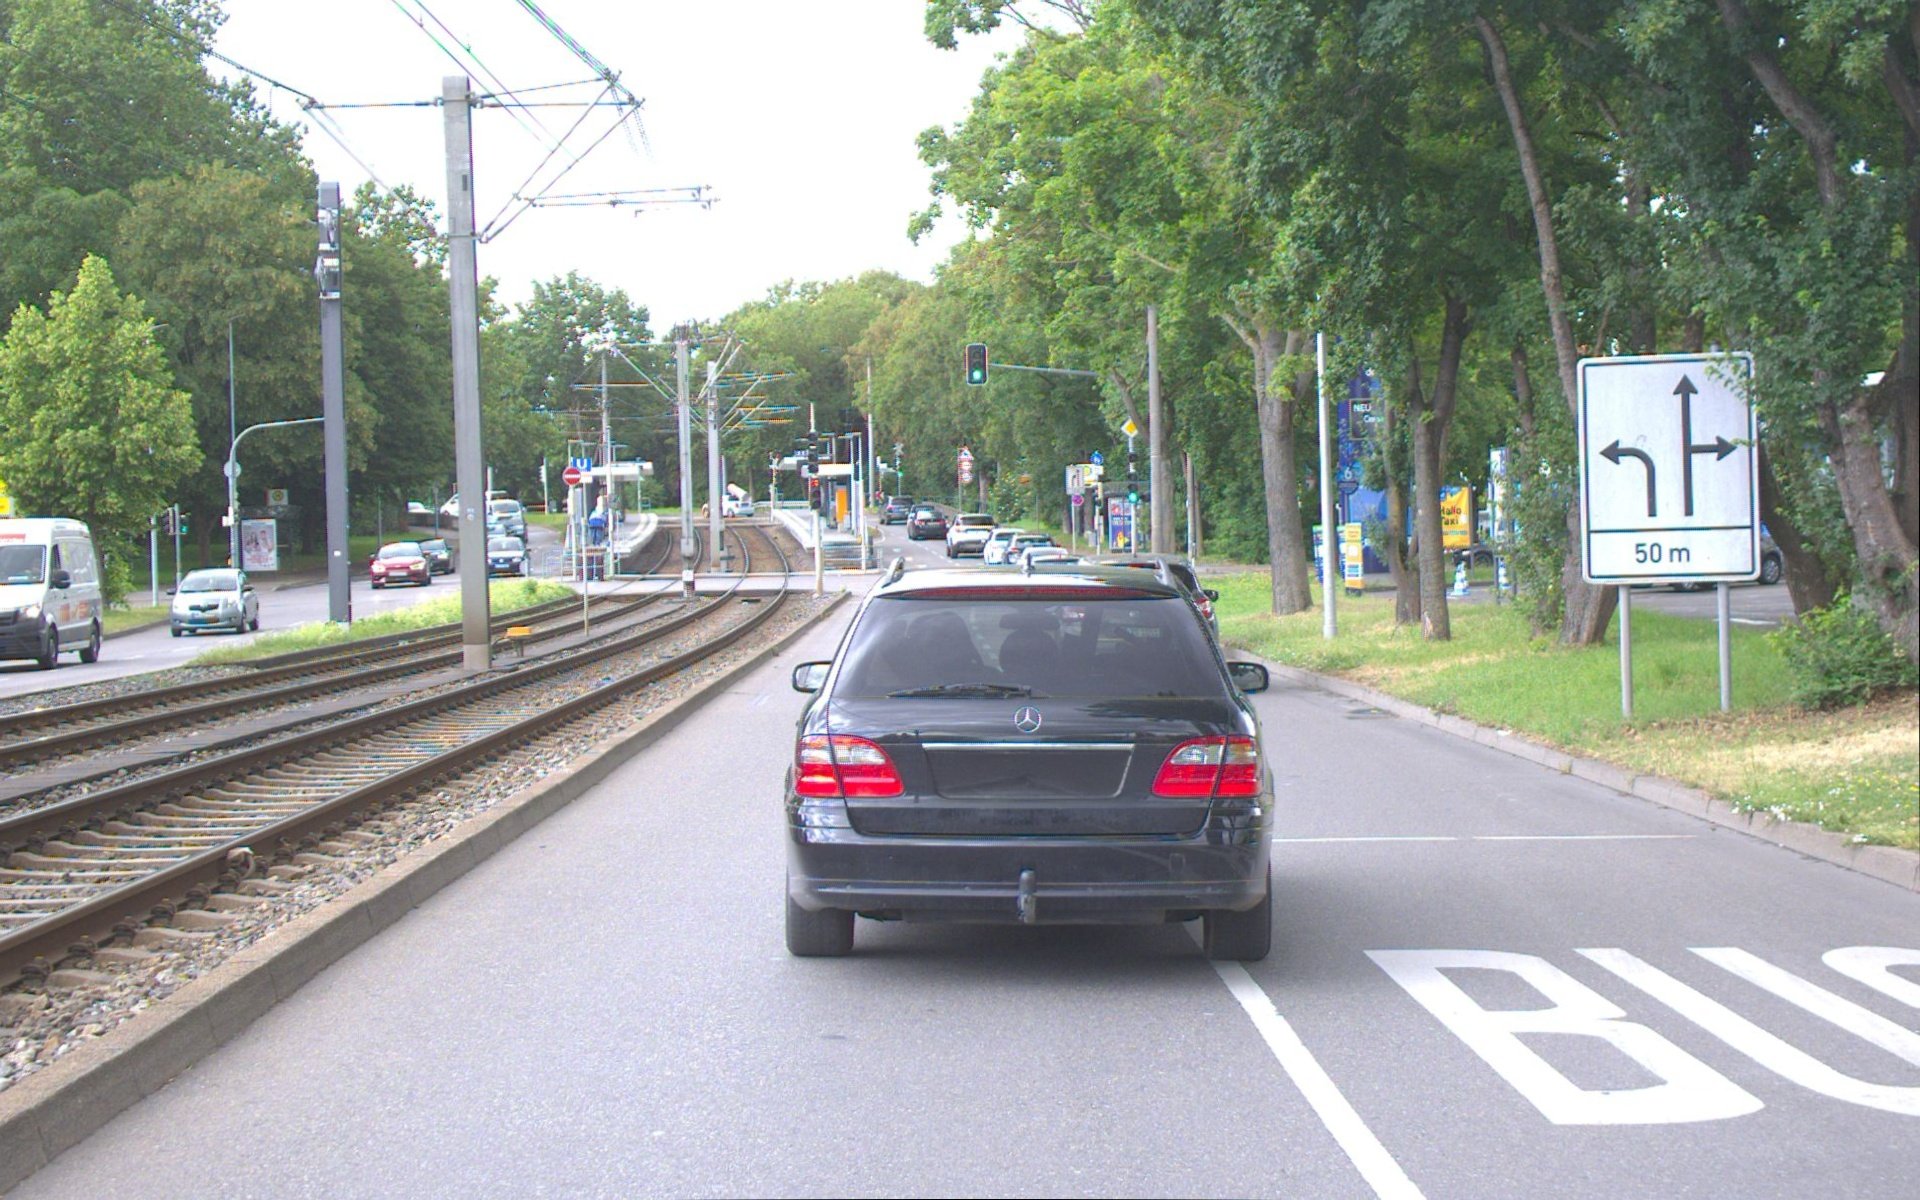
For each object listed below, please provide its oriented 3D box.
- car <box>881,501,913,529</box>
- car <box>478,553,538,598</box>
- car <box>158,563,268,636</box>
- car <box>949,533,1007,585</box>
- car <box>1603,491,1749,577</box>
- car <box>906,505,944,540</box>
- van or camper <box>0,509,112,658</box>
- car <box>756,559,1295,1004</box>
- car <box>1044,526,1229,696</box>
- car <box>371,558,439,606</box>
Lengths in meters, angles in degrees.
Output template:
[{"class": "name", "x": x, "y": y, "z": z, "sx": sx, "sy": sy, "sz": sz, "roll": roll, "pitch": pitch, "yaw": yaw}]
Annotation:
[{"class": "car", "x": -3.625, "y": -4.846, "z": 197.040, "sx": 1.666, "sy": 1.527, "sz": 3.771, "roll": 0, "pitch": 1, "yaw": -4}, {"class": "car", "x": -16.818, "y": -0.936, "z": 128.154, "sx": 1.765, "sy": 1.641, "sz": 3.771, "roll": 0, "pitch": 1, "yaw": -1}, {"class": "car", "x": -17.402, "y": -0.028, "z": 80.218, "sx": 1.765, "sy": 1.641, "sz": 3.771, "roll": 0, "pitch": 1, "yaw": -1}, {"class": "car", "x": 0.632, "y": -1.489, "z": 124.221, "sx": 1.993, "sy": 1.831, "sz": 4.000, "roll": 0, "pitch": 1, "yaw": -1}, {"class": "car", "x": 14.899, "y": -1.385, "z": 71.377, "sx": 2.008, "sy": 1.677, "sz": 4.574, "roll": -1, "pitch": 1, "yaw": 24}, {"class": "car", "x": -1.867, "y": -4.075, "z": 181.473, "sx": 1.993, "sy": 1.831, "sz": 4.000, "roll": 0, "pitch": 1, "yaw": -1}, {"class": "van or camper", "x": -15.709, "y": -0.291, "z": 57.504, "sx": 1.993, "sy": 2.346, "sz": 5.767, "roll": -2, "pitch": 1, "yaw": -5}, {"class": "car", "x": 0.200, "y": 0.587, "z": 13.484, "sx": 1.808, "sy": 1.469, "sz": 3.881, "roll": 0, "pitch": 1, "yaw": -1}, {"class": "car", "x": 1.884, "y": 0.101, "z": 37.697, "sx": 1.780, "sy": 1.744, "sz": 3.718, "roll": 1, "pitch": 0, "yaw": -1}, {"class": "car", "x": -19.282, "y": -0.633, "z": 119.559, "sx": 1.765, "sy": 1.641, "sz": 3.771, "roll": 0, "pitch": 1, "yaw": -1}]
